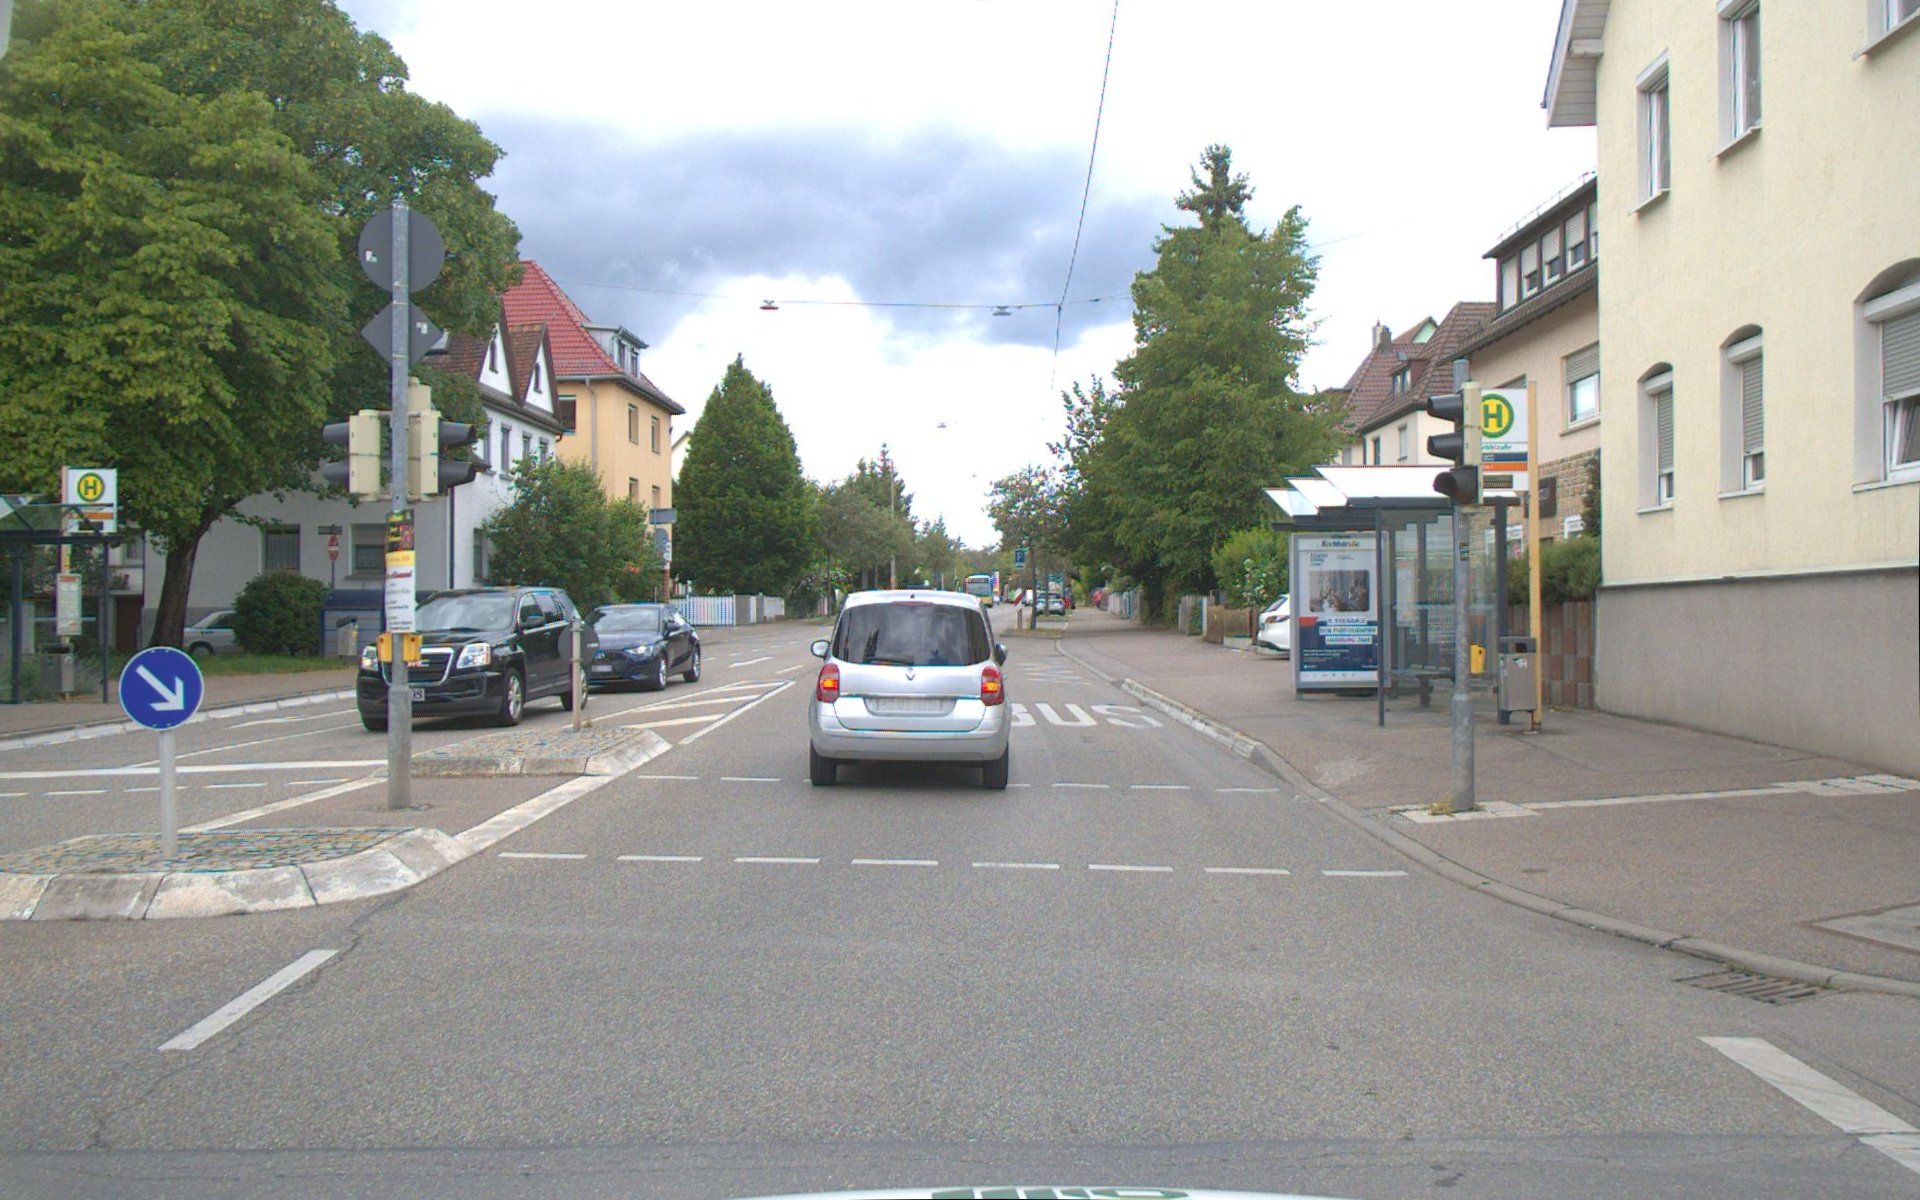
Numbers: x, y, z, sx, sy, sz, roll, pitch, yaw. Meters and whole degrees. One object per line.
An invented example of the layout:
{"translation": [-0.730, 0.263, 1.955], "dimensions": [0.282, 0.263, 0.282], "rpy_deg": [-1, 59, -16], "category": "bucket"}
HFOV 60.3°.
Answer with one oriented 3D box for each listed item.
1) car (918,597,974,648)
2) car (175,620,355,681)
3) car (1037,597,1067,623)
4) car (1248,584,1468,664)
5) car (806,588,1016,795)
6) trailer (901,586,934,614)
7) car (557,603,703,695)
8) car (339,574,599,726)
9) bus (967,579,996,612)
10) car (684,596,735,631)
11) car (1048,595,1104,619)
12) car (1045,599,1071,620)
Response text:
{"translation": [-0.513, 0.769, 57.519], "dimensions": [1.793, 1.705, 3.572], "rpy_deg": [-1, 0, -3], "category": "car"}
{"translation": [-17.981, 1.297, 42.897], "dimensions": [3.905, 1.355, 1.722], "rpy_deg": [-3, -1, 1], "category": "car"}
{"translation": [5.203, 0.604, 92.845], "dimensions": [1.615, 1.407, 4.002], "rpy_deg": [0, -1, 4], "category": "car"}
{"translation": [8.588, 0.528, 35.962], "dimensions": [4.328, 1.514, 1.865], "rpy_deg": [-2, -1, 2], "category": "car"}
{"translation": [-0.481, 0.744, 14.785], "dimensions": [1.597, 1.584, 3.997], "rpy_deg": [1, -1, -3], "category": "car"}
{"translation": [-3.406, 0.052, 133.184], "dimensions": [2.264, 2.123, 5.874], "rpy_deg": [1, -1, 2], "category": "trailer"}
{"translation": [-5.574, 0.818, 28.385], "dimensions": [1.531, 1.445, 4.131], "rpy_deg": [-1, -1, 2], "category": "car"}
{"translation": [-6.129, 0.621, 21.231], "dimensions": [1.721, 1.663, 4.596], "rpy_deg": [-2, -1, 3], "category": "car"}
{"translation": [2.261, -0.389, 167.614], "dimensions": [2.577, 3.140, 12.072], "rpy_deg": [-2, 0, 2], "category": "bus"}
{"translation": [-12.400, 0.632, 82.130], "dimensions": [1.769, 1.591, 4.618], "rpy_deg": [-3, 0, 0], "category": "car"}
{"translation": [8.732, 0.535, 125.033], "dimensions": [3.910, 1.522, 1.808], "rpy_deg": [-4, 0, -5], "category": "car"}
{"translation": [6.639, 0.625, 111.955], "dimensions": [1.627, 1.417, 3.670], "rpy_deg": [0, 0, 6], "category": "car"}
